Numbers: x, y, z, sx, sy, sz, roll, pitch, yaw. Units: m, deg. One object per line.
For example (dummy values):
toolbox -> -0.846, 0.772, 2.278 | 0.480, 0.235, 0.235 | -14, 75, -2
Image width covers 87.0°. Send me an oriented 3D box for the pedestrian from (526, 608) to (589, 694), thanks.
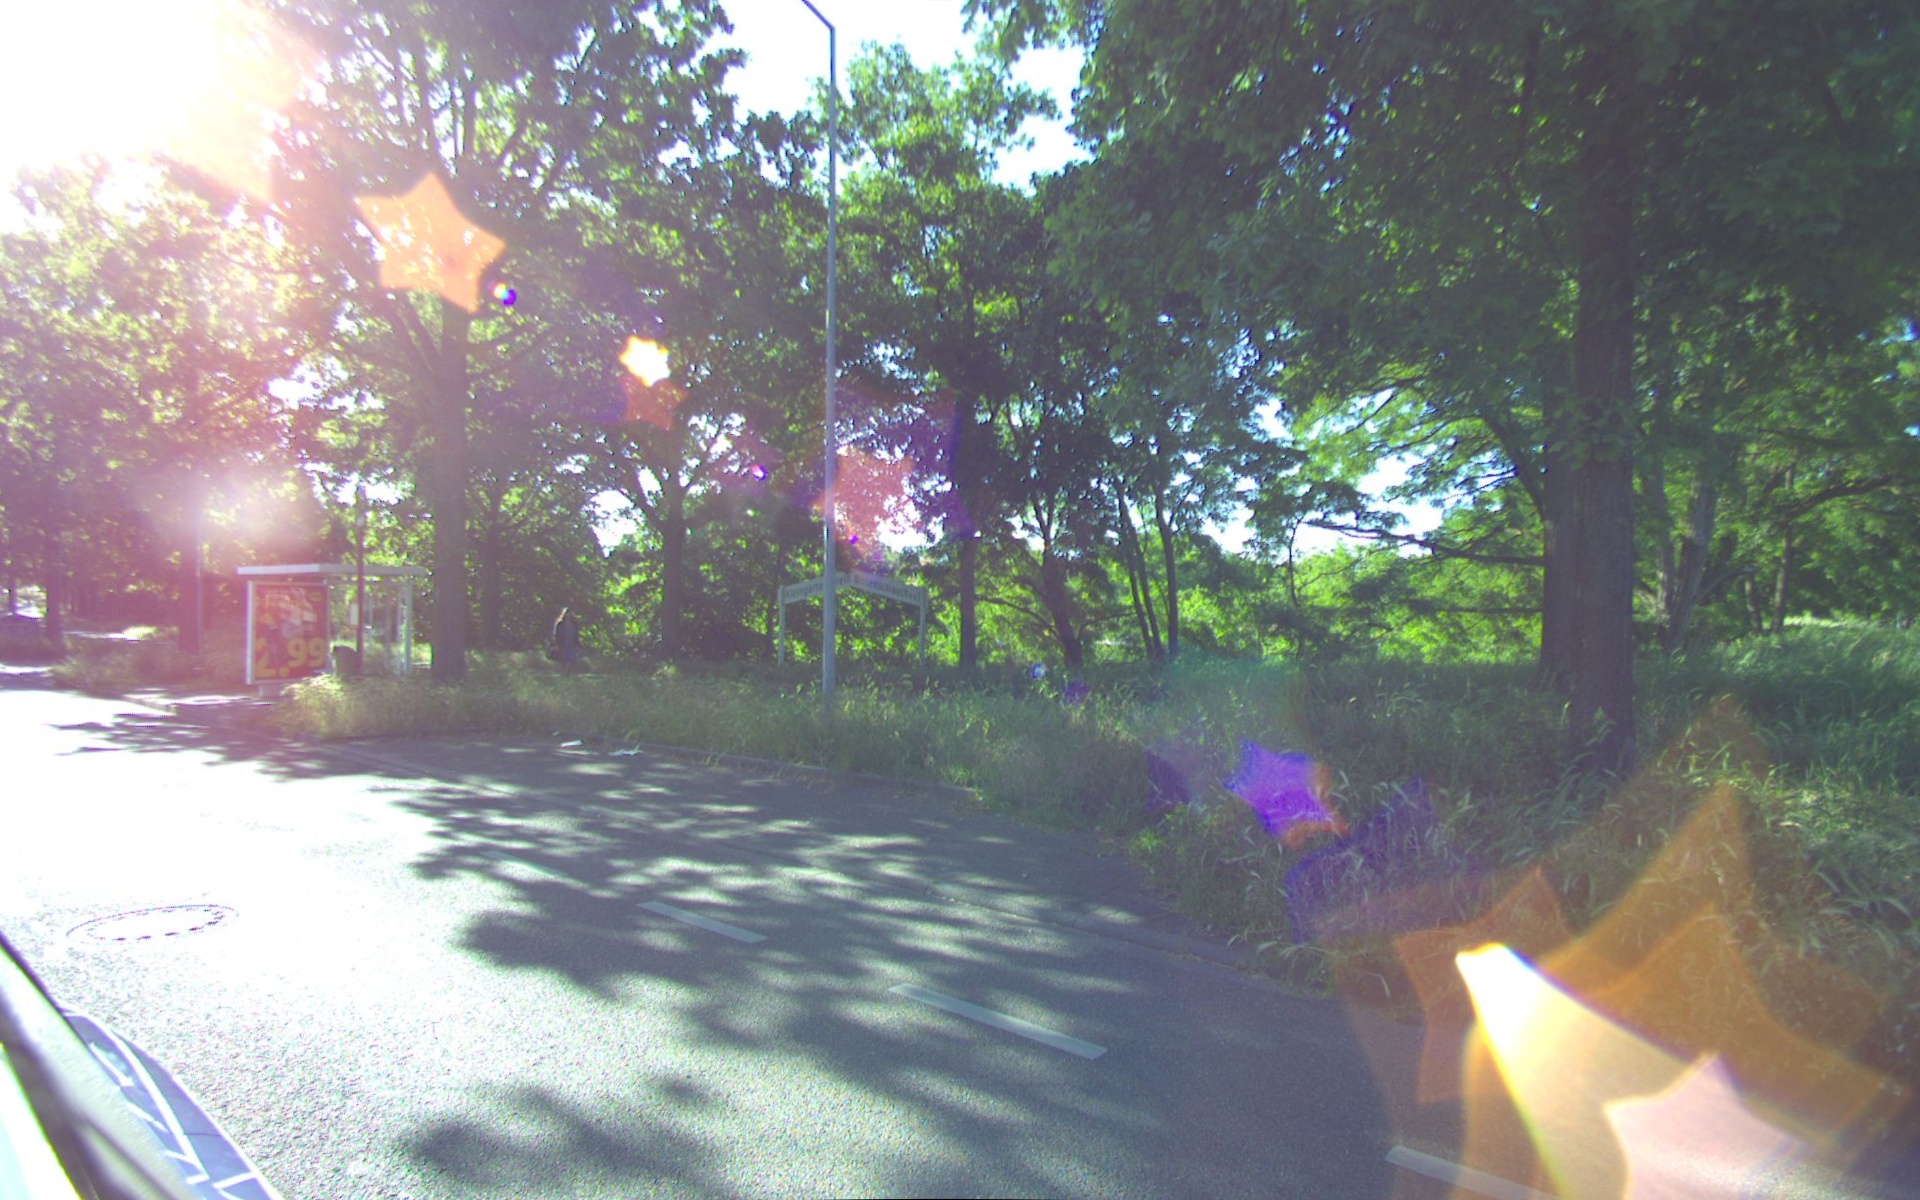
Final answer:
pedestrian -> -8.283, 1.022, 20.833 | 0.891, 1.701, 0.903 | -2, -1, 42
